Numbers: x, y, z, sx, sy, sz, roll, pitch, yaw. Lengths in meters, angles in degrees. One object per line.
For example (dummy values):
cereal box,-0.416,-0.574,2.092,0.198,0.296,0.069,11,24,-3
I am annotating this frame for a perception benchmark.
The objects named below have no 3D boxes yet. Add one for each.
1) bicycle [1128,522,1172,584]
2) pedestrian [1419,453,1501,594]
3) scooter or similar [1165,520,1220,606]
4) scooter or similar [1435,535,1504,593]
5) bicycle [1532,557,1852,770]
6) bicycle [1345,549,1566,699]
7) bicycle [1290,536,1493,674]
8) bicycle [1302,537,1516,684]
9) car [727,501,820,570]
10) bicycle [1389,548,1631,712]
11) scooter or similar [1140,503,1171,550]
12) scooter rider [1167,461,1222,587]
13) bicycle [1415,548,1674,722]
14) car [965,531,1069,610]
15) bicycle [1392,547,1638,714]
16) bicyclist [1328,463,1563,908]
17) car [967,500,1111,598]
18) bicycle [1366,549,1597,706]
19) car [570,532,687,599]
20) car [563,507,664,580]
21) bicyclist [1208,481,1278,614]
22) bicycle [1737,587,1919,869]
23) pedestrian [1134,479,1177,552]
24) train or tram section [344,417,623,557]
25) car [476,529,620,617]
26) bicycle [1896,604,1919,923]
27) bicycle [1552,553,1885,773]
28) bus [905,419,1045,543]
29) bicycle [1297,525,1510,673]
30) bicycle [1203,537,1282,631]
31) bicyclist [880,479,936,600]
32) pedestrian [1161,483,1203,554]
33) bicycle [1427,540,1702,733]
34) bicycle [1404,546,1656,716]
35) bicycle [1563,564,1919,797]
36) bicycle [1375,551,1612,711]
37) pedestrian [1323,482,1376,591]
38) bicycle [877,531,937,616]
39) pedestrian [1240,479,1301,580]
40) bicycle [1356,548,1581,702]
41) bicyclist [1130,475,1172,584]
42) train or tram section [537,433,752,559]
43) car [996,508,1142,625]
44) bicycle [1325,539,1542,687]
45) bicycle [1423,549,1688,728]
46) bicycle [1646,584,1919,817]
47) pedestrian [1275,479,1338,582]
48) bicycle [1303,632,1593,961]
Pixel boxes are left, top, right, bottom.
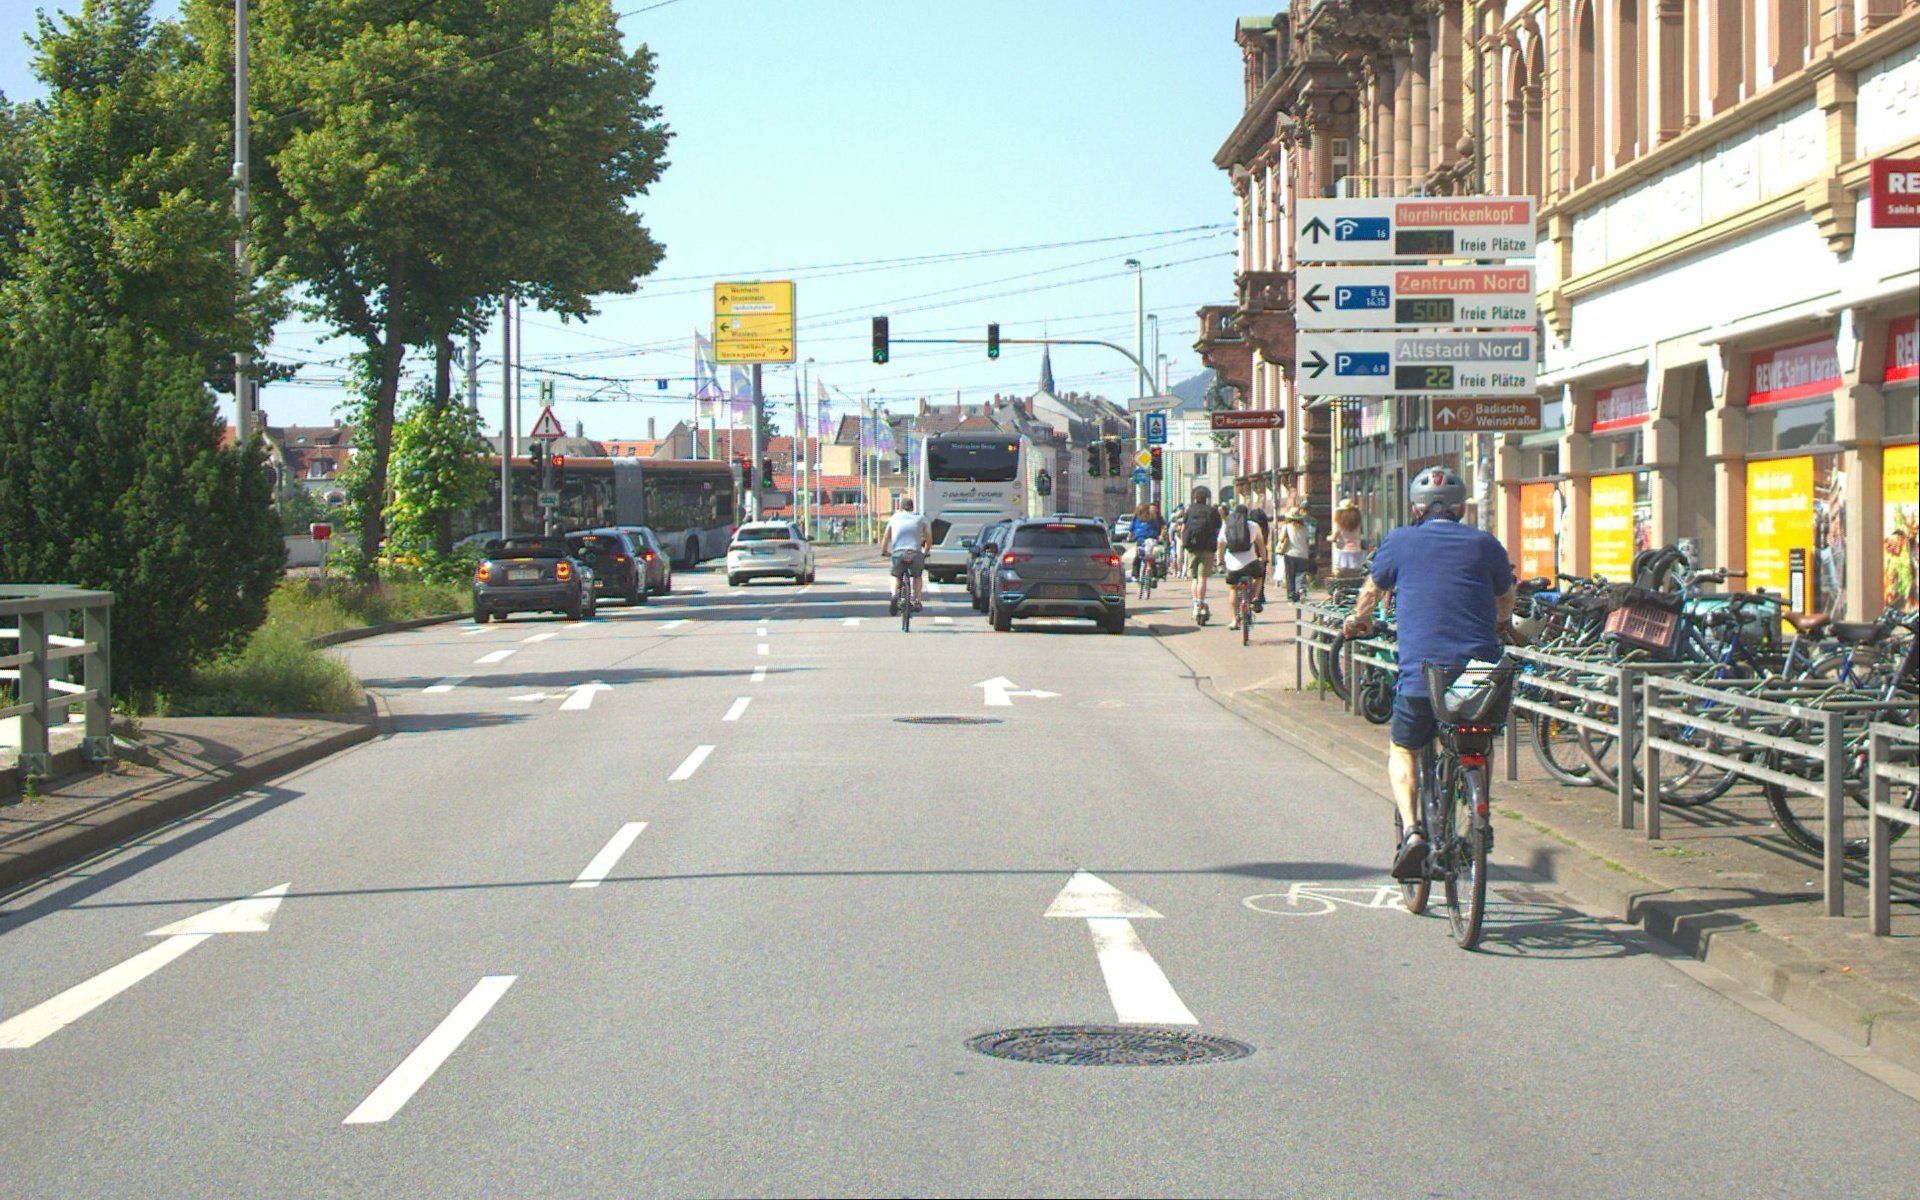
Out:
bicycle,3.433,-0.856,62.319,0.734,1.089,1.898,2,1,2
pedestrian,6.061,-0.924,41.731,0.755,1.650,0.837,-4,0,-1
scooter or similar,3.241,-0.516,48.044,0.688,1.163,1.464,2,1,2
scooter or similar,6.091,-0.431,41.100,0.691,0.648,0.565,-4,1,-1
bicycle,4.195,0.356,19.776,1.693,1.174,0.608,1,1,0
bicycle,3.983,0.186,27.688,1.693,1.174,0.470,1,1,0
bicycle,3.762,0.038,30.036,1.693,1.174,0.608,-1,2,0
bicycle,3.743,0.084,28.750,1.693,1.174,0.608,-1,2,0
car,-4.258,-1.477,79.061,1.858,1.502,4.000,2,1,0
bicycle,4.065,0.216,25.462,1.693,1.174,0.457,1,1,0
scooter or similar,4.449,-1.676,78.355,0.600,1.044,0.799,2,1,-2
scooter rider,3.274,-1.058,48.073,0.688,1.723,0.778,2,1,2
bicycle,4.050,0.237,23.884,1.693,1.174,0.491,1,1,0
car,1.128,-0.616,69.256,1.993,1.487,4.000,2,1,0
bicycle,4.012,0.214,24.906,1.693,1.174,0.463,1,1,0
bicyclist,1.826,0.307,13.048,0.688,1.610,0.918,2,1,-2
car,1.249,-0.845,56.301,1.993,1.487,4.001,2,1,-3
bicycle,4.023,0.208,26.569,1.693,1.174,0.459,1,1,0
car,-6.981,-0.736,72.809,2.037,1.327,4.000,2,1,0
car,-6.573,-1.072,65.527,1.451,1.296,4.000,2,1,0
bicyclist,3.424,-0.641,41.672,0.688,1.571,1.049,2,1,-1
bicycle,4.101,0.517,13.955,1.739,1.105,0.608,1,1,0
pedestrian,4.490,-1.944,78.961,0.862,1.634,0.876,2,1,-2
train or tram section,-13.162,-3.073,96.098,2.826,3.569,10.020,2,1,24
car,-6.716,-0.459,56.401,1.815,1.327,4.000,2,1,0
bicycle,4.164,0.578,11.837,1.693,1.093,0.608,1,1,0
bicycle,4.195,0.342,19.079,1.693,1.174,0.608,1,1,0
bus,0.275,-2.799,83.171,2.969,2.767,8.642,2,1,-2
bicycle,3.784,-0.018,29.402,1.693,1.174,0.608,-2,2,0
bicycle,3.410,-0.203,41.662,0.734,1.089,1.898,2,1,-1
bicyclist,-0.701,-0.806,45.876,0.688,1.571,1.049,2,1,-2
pedestrian,5.207,-1.924,80.842,0.862,1.634,0.876,-2,2,-2
bicycle,3.983,0.233,22.718,1.693,1.236,0.608,1,1,0
bicycle,4.037,0.215,24.396,1.693,1.174,0.451,1,1,0
bicycle,4.126,0.414,18.108,1.771,1.174,0.608,1,1,0
bicycle,4.023,0.230,26.003,1.693,1.174,0.514,1,1,0
pedestrian,5.854,-0.962,51.665,0.654,1.615,0.815,-1,2,-2
bicycle,-0.714,-0.366,45.926,0.734,1.089,1.898,2,1,-2
pedestrian,5.181,-1.180,57.370,0.862,1.634,0.876,-2,2,-2
bicycle,4.003,0.192,27.121,1.693,1.174,0.460,1,1,0
bicyclist,3.447,-1.273,62.188,0.688,1.955,0.778,2,1,2
train or tram section,-9.490,-3.096,104.447,2.826,3.569,8.215,2,1,24
car,1.467,-0.494,47.479,1.873,1.487,4.000,2,2,0
bicycle,3.868,0.101,28.153,1.693,1.174,0.470,1,1,0
bicycle,4.032,0.253,23.333,1.693,1.174,0.497,1,1,0
bicycle,4.235,0.480,16.633,1.693,1.083,0.608,1,1,0
pedestrian,5.611,-1.133,55.689,0.862,1.634,0.876,-2,2,-2
bicycle,1.811,0.700,13.037,0.734,1.089,1.911,2,1,-2
